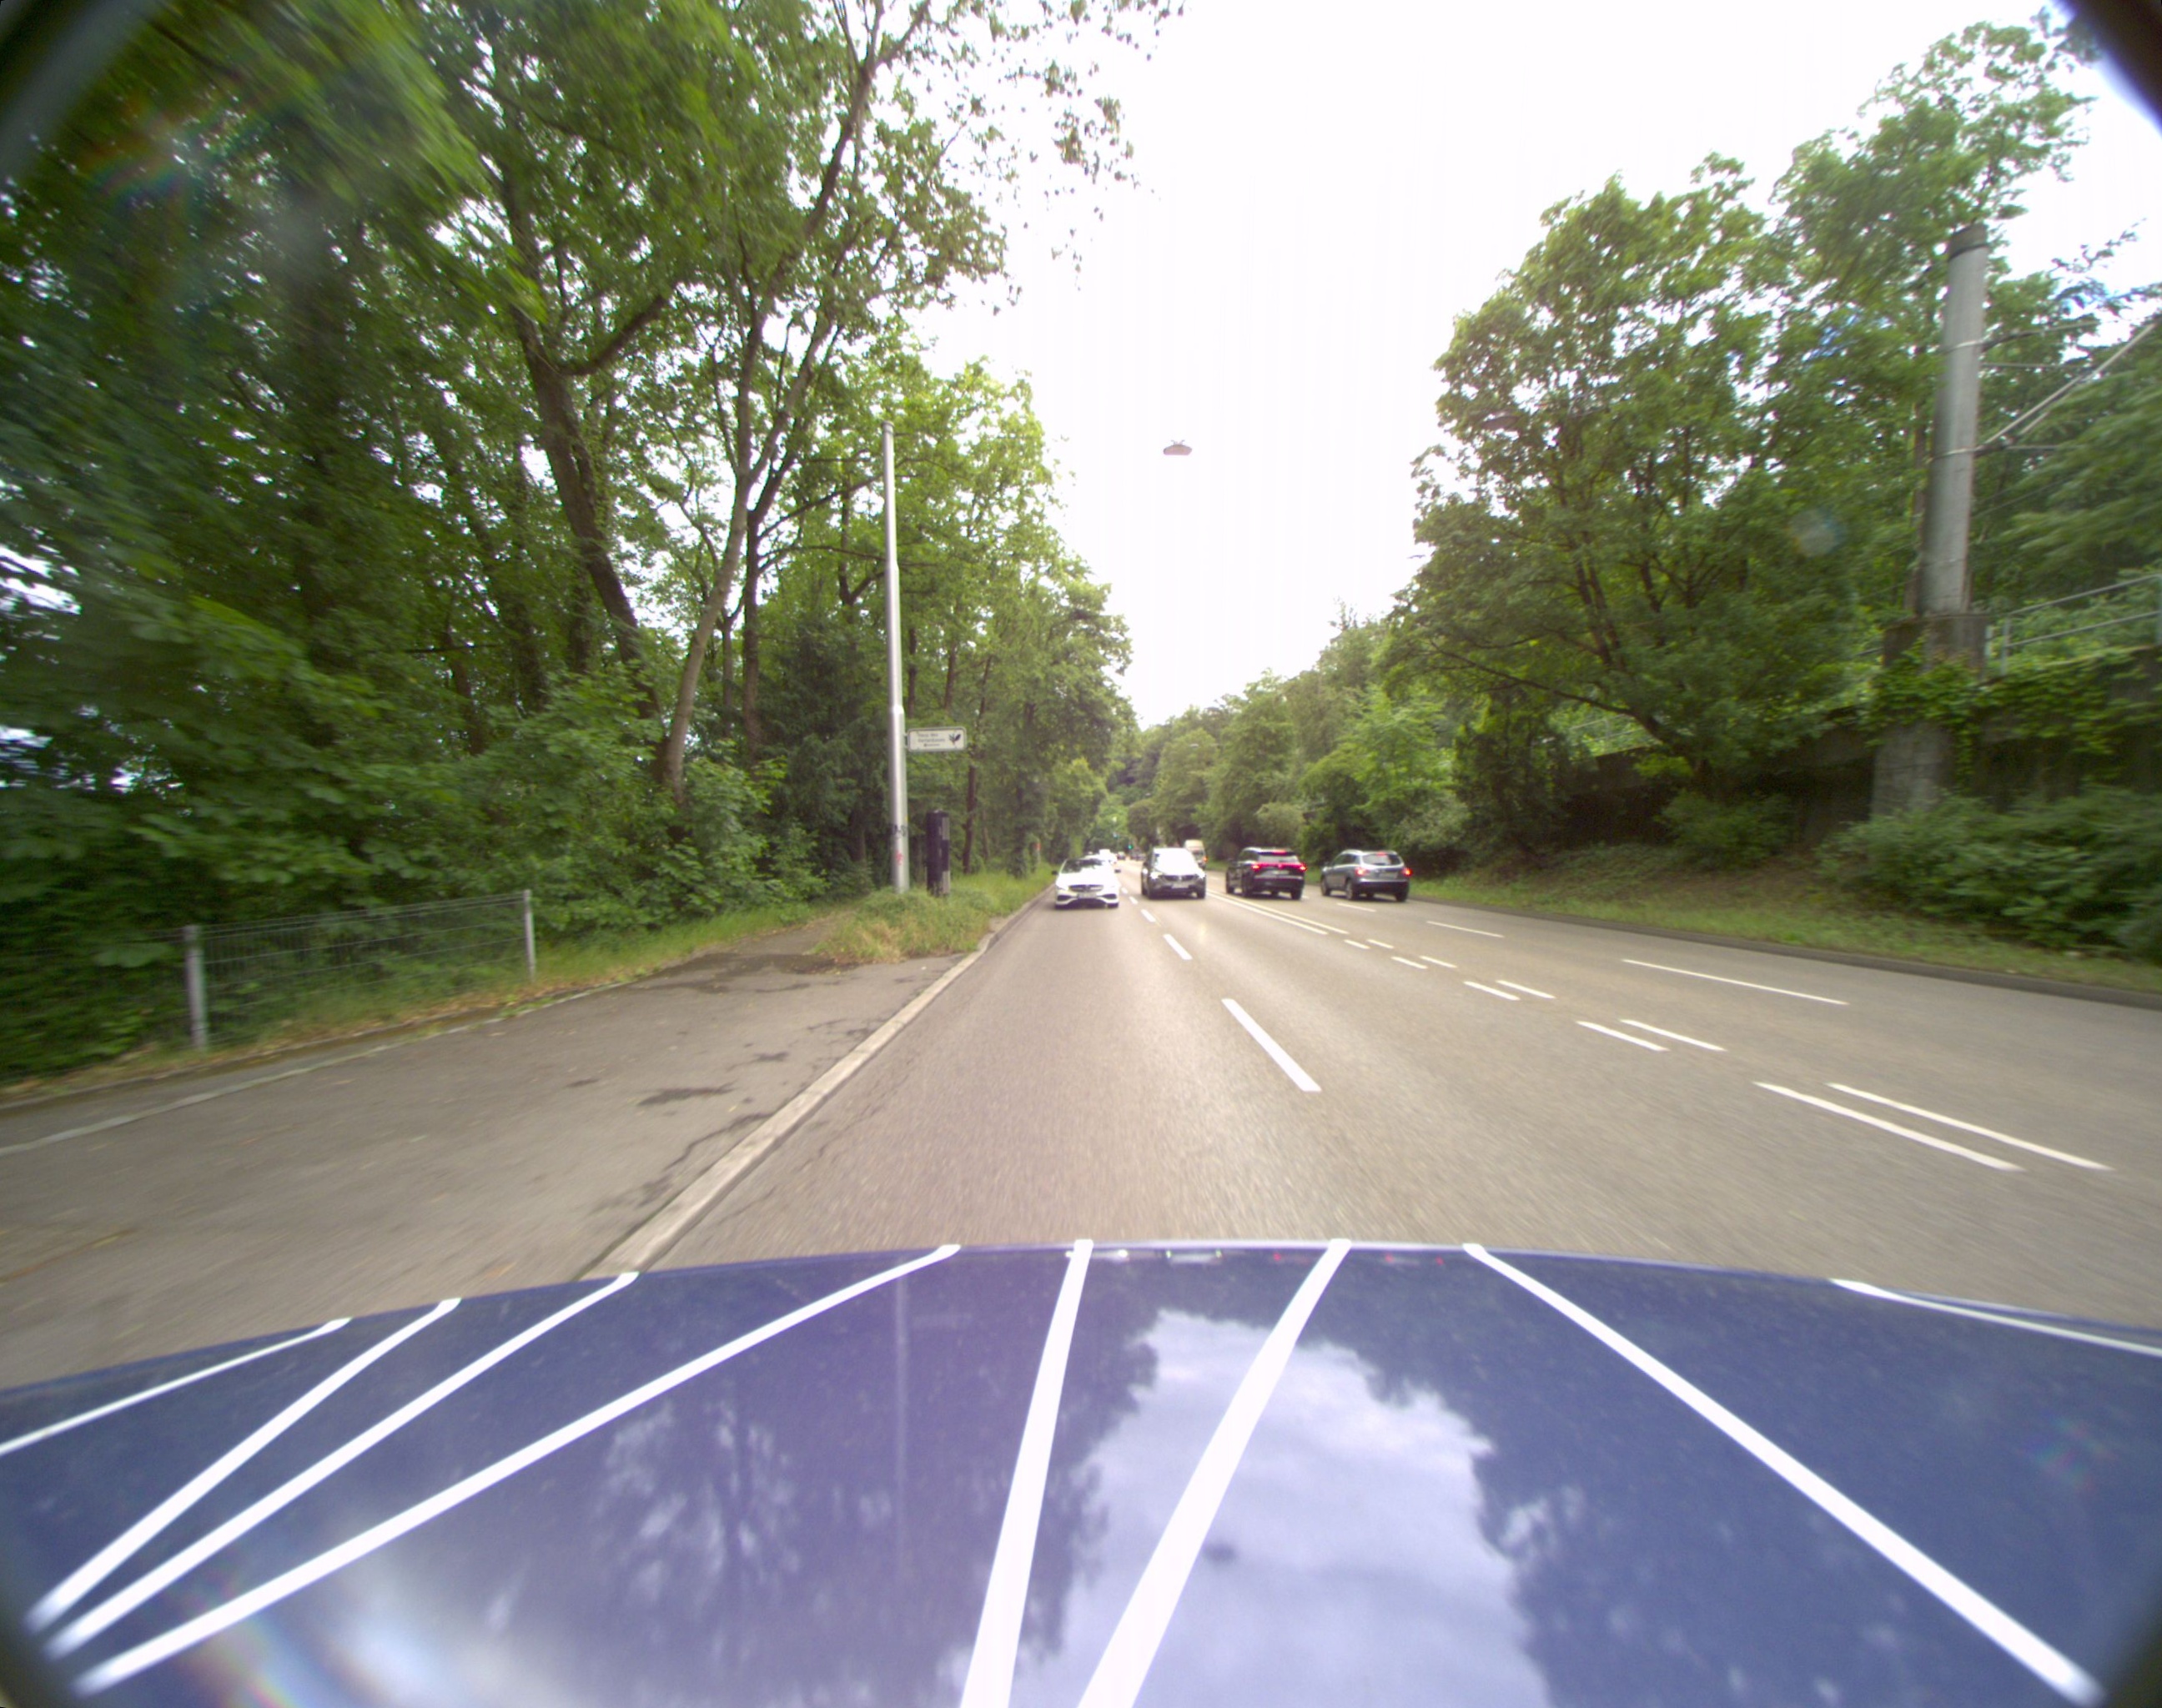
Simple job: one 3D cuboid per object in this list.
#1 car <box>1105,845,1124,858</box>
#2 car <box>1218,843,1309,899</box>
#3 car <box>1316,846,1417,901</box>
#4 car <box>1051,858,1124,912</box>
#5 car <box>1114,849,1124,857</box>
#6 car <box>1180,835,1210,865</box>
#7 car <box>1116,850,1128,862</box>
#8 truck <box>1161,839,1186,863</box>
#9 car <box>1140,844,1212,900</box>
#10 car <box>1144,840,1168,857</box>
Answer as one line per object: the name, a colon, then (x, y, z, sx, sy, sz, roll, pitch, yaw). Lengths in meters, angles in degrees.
car: (4.686, -0.320, 106.943, 1.699, 1.733, 3.996, -2, 1, -10)
car: (6.014, 0.497, 25.621, 1.815, 1.652, 4.828, 1, 1, -1)
car: (9.251, 0.568, 24.994, 1.795, 1.602, 4.189, 1, 1, 1)
car: (0.194, 0.835, 22.225, 1.897, 1.289, 4.327, -2, 1, 1)
car: (7.218, -0.233, 144.928, 1.736, 1.502, 4.433, 1, 1, 1)
car: (10.122, -0.356, 67.781, 1.892, 2.541, 4.914, 2, 1, 1)
car: (8.043, 0.365, 149.393, 1.691, 1.452, 3.999, -32, 0, 1)
truck: (10.203, -0.369, 84.557, 2.182, 2.397, 6.465, 2, 1, 2)
car: (3.078, 0.518, 25.394, 1.871, 1.653, 4.192, -2, 1, 1)
car: (7.080, -0.539, 71.861, 1.843, 1.457, 4.465, -2, 1, 1)
